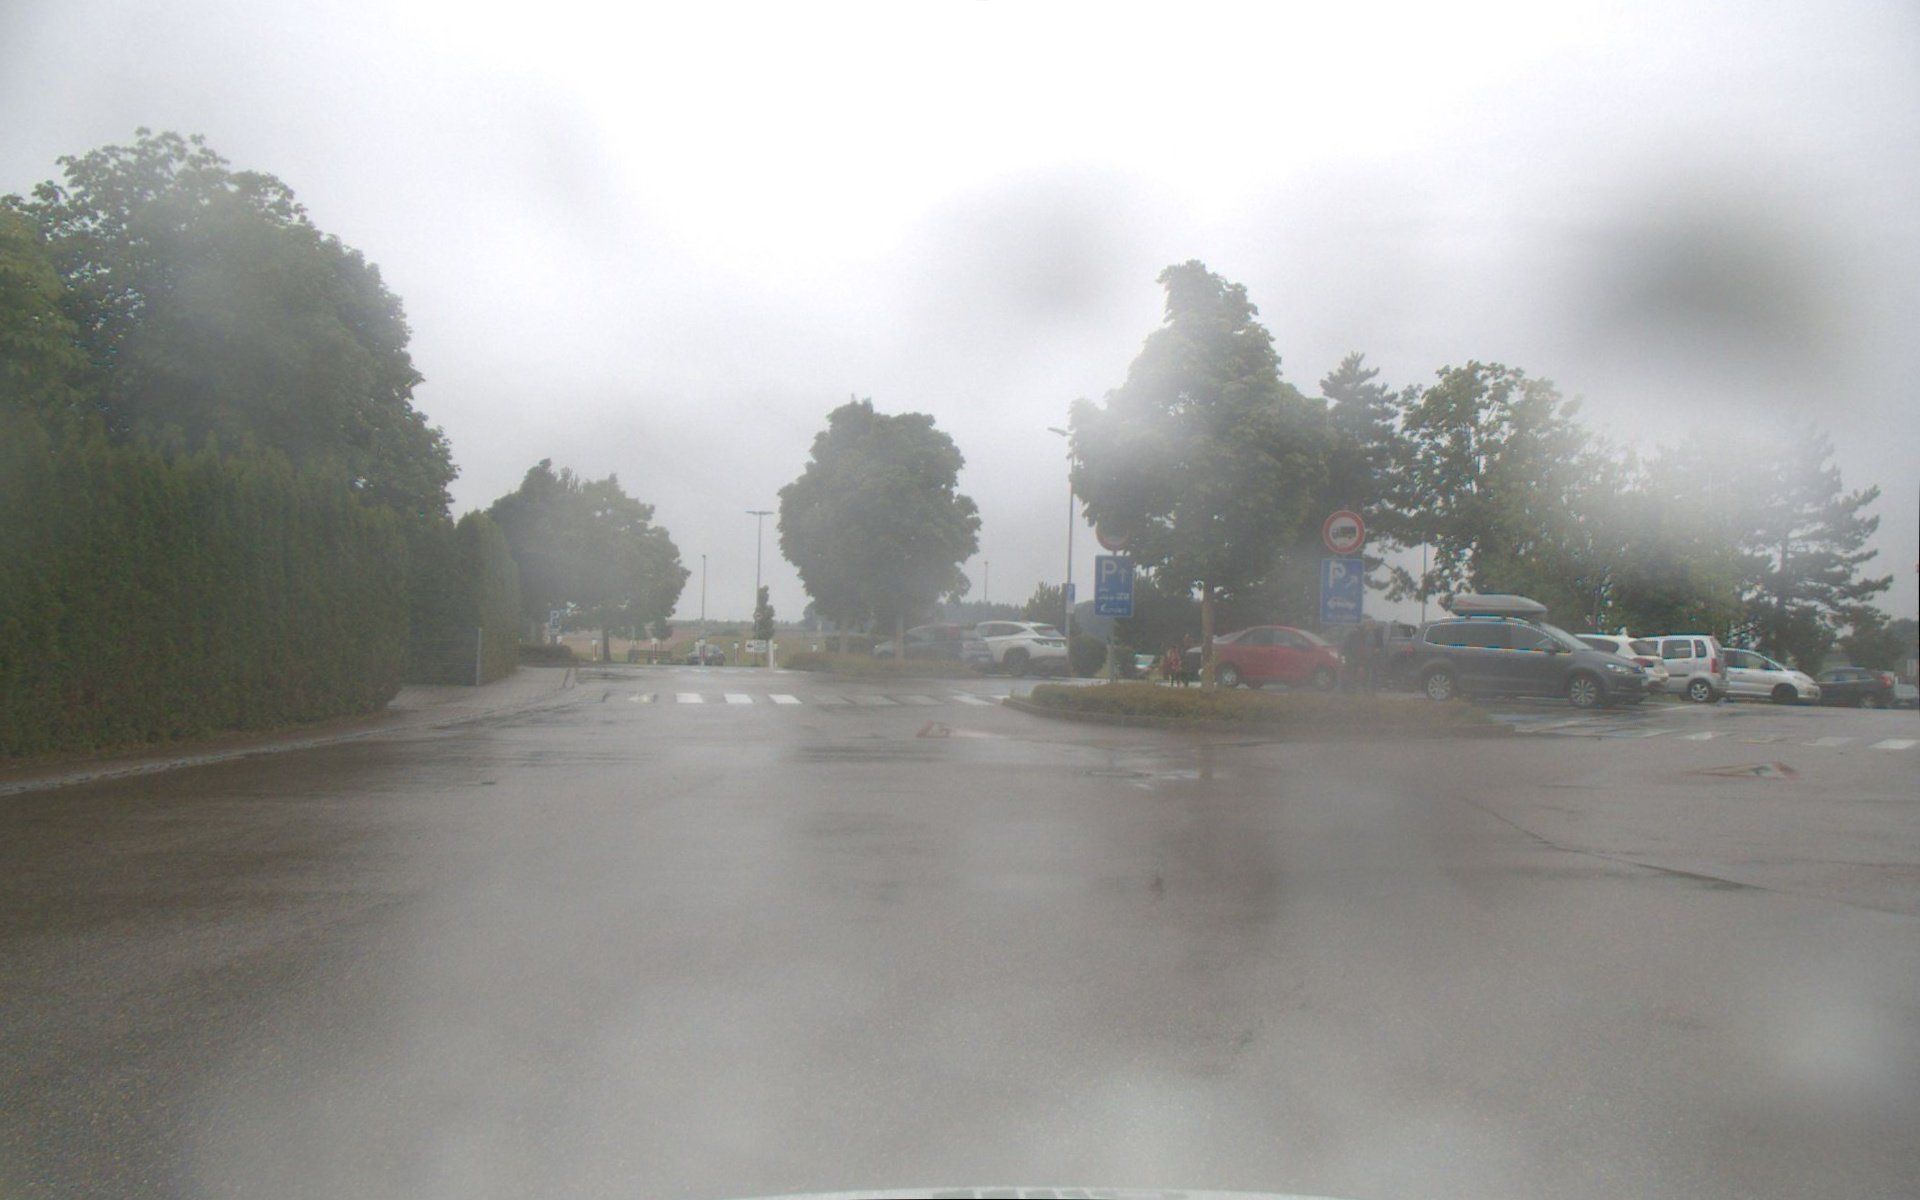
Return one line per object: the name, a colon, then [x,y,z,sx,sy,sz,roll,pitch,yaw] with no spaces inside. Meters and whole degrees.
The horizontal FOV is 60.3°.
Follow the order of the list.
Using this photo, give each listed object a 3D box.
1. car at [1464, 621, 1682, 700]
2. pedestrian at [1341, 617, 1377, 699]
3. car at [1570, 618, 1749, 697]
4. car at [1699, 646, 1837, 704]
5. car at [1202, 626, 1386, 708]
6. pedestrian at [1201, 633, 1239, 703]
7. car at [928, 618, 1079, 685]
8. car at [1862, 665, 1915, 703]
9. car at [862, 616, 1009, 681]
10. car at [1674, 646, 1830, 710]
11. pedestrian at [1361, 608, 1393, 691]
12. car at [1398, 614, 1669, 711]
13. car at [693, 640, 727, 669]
car: [13.178,1.253,35.638,4.115,1.543,1.736,0,0,37]
pedestrian: [8.290,1.205,34.384,0.698,1.667,0.647,1,-3,14]
car: [17.874,1.452,42.307,3.942,1.895,1.844,0,-3,35]
car: [29.365,2.702,60.152,4.280,1.895,1.844,1,-2,35]
car: [7.975,1.561,39.647,3.942,1.824,1.844,0,-1,35]
pedestrian: [5.283,1.384,33.643,0.630,1.386,0.451,3,-3,-5]
car: [1.277,1.529,49.734,4.280,1.895,1.714,0,-3,35]
car: [37.921,3.443,67.502,1.616,1.394,3.801,1,-3,33]
car: [-0.732,1.375,47.539,3.945,1.746,1.714,0,-3,35]
car: [25.342,2.489,52.950,4.280,1.895,1.844,0,-3,35]
pedestrian: [8.970,1.070,35.531,0.596,1.755,0.684,2,-3,16]
car: [11.566,1.203,33.491,4.850,1.824,1.993,0,-1,35]
car: [-18.233,3.994,120.576,1.668,2.049,4.000,2,-3,2]
